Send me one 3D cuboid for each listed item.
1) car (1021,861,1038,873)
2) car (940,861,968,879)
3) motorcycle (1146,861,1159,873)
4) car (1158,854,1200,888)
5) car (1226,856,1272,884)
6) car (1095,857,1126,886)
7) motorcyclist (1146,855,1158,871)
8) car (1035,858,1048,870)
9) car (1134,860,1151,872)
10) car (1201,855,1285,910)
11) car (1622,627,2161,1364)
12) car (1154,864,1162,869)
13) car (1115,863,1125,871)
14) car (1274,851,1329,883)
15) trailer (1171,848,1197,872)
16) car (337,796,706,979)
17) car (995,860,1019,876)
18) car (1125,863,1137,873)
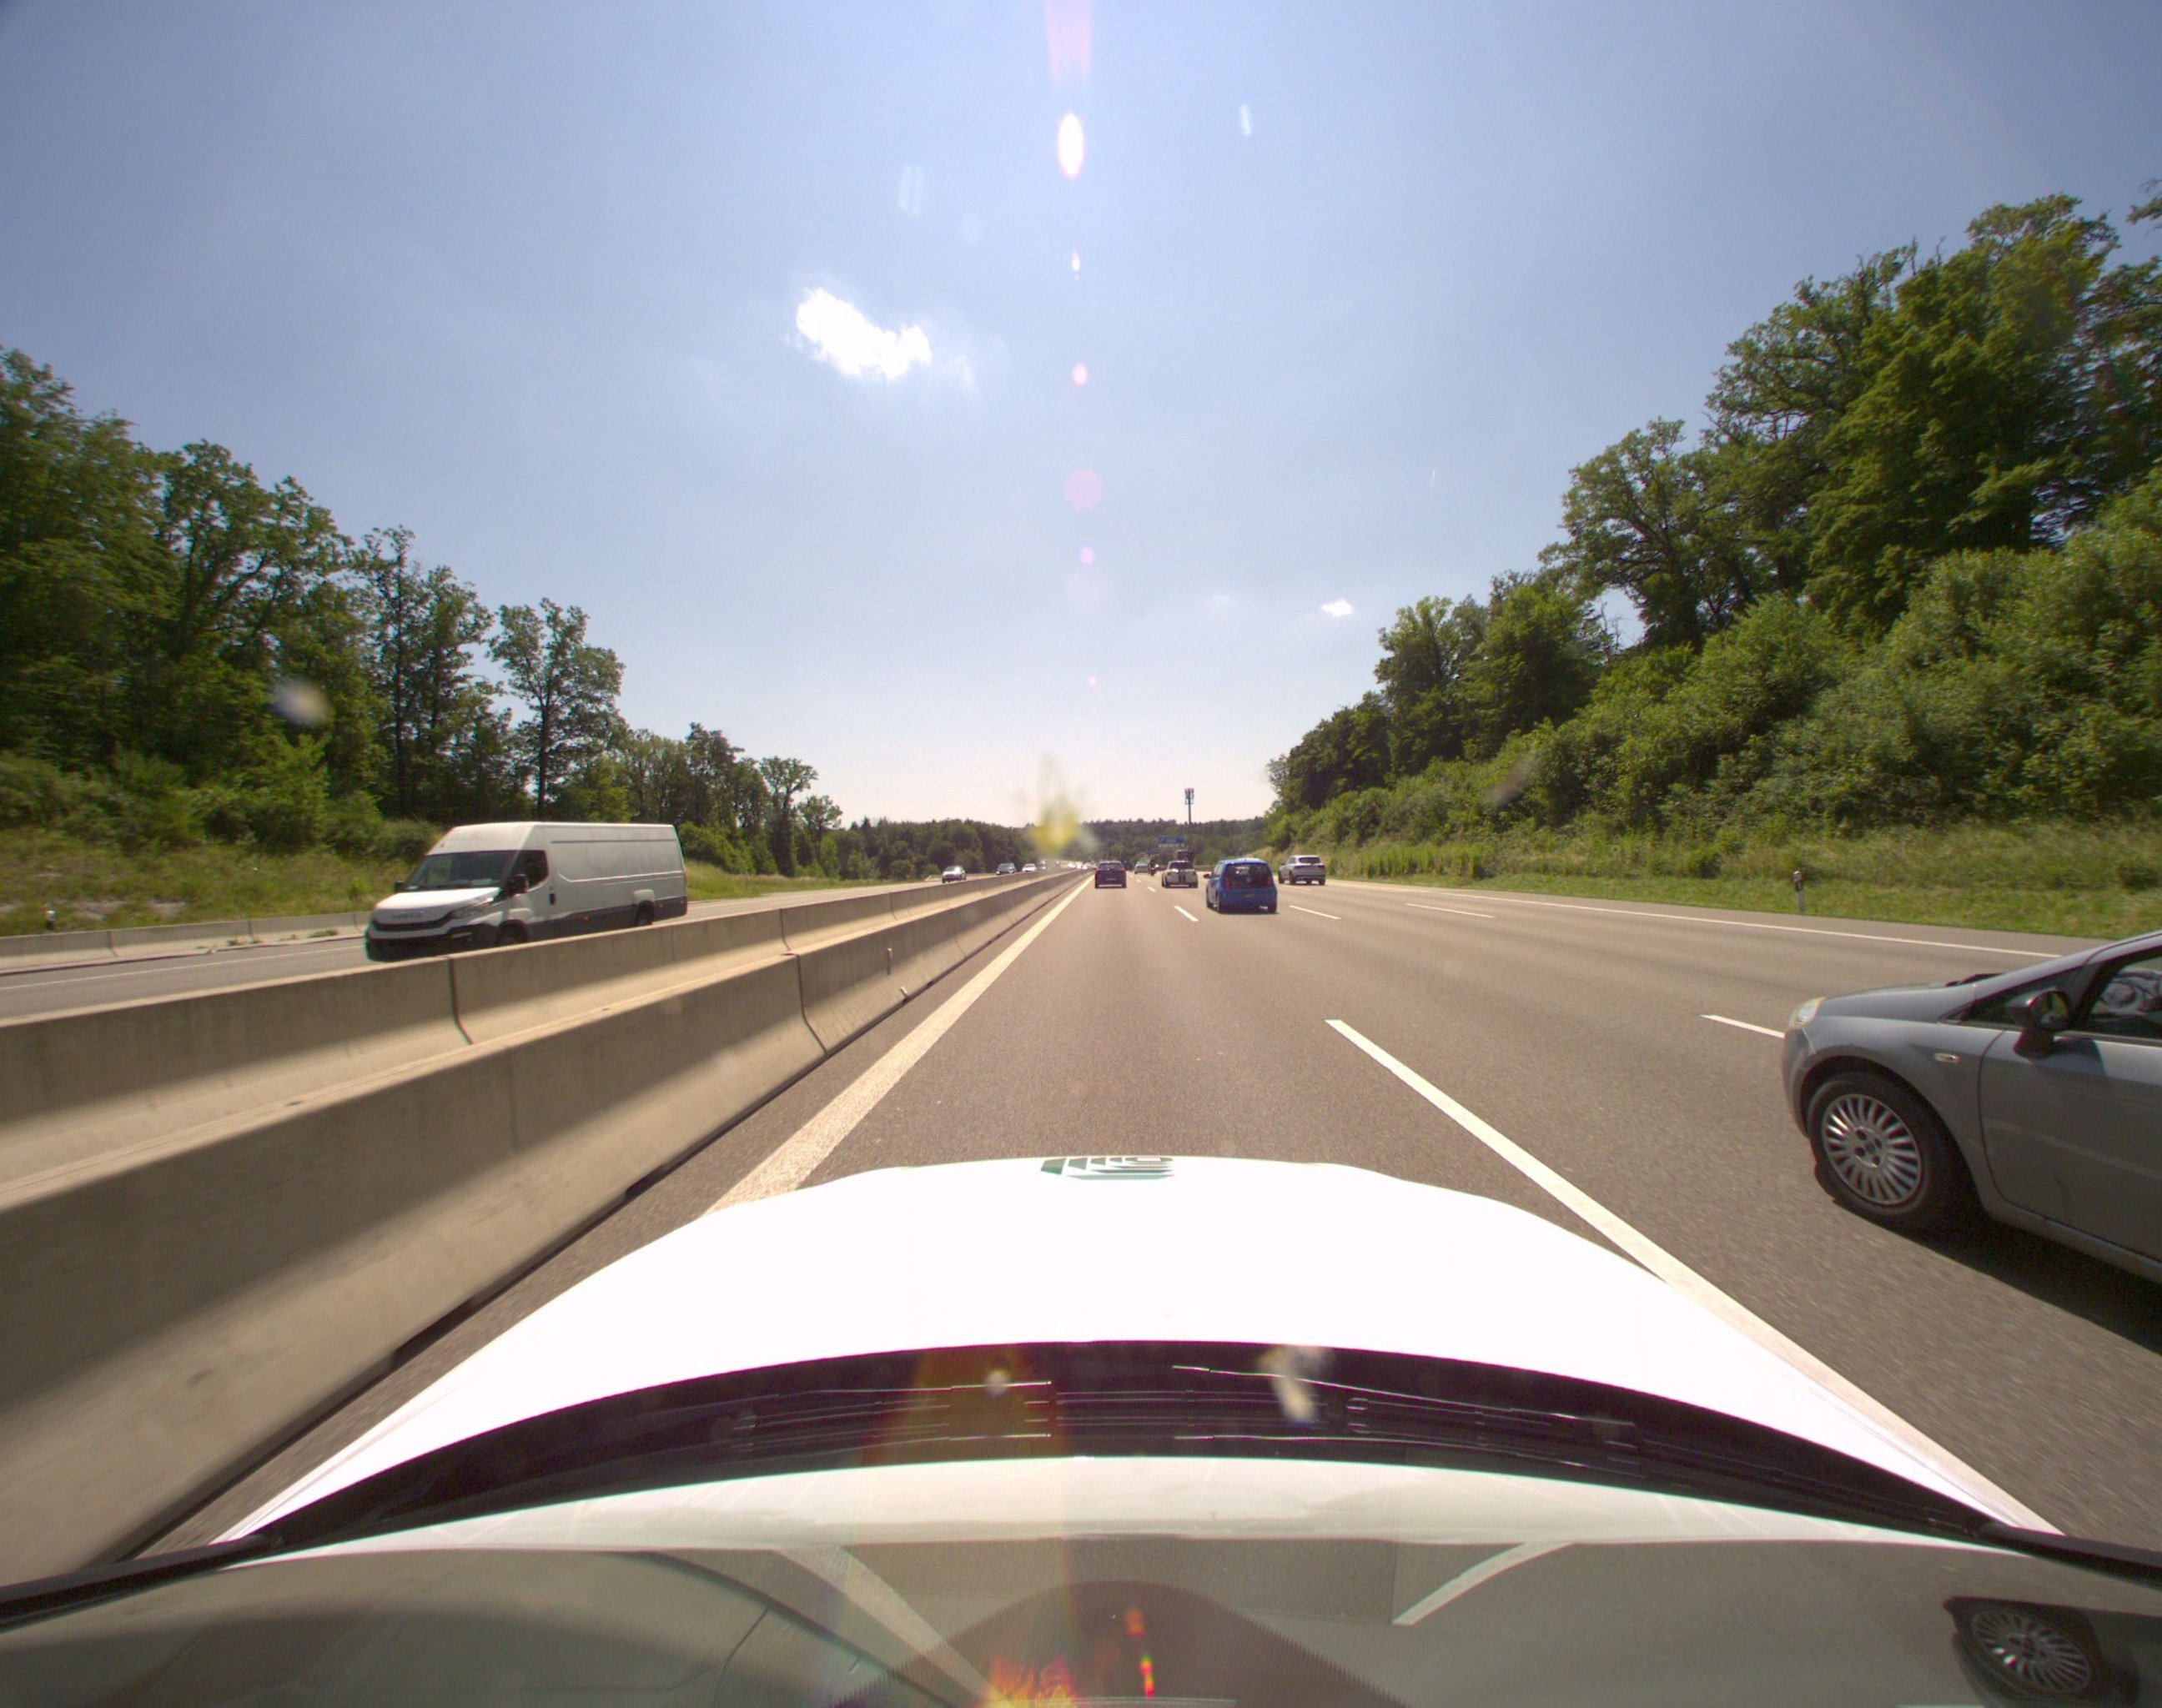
[{"bbox_3d":[-7.151,1.810,113.377,1.889,1.662,4.729,-2,-1,1],"label":"car"},{"bbox_3d":[-12.222,1.540,78.848,1.737,1.562,4.425,-4,-1,3],"label":"car"},{"bbox_3d":[6.809,1.239,77.756,0.974,1.129,2.271,-2,-1,0],"label":"motorcycle"},{"bbox_3d":[5.120,0.862,42.937,1.834,1.552,4.003,2,1,2],"label":"car"},{"bbox_3d":[9.110,0.845,44.423,1.660,1.433,4.376,-2,0,1],"label":"car"},{"bbox_3d":[1.617,0.930,44.435,1.618,1.487,3.687,-1,0,2],"label":"car"},{"bbox_3d":[6.792,0.888,77.696,0.959,1.437,1.235,-3,-1,0],"label":"motorcyclist"},{"bbox_3d":[-6.606,1.659,136.355,1.987,2.013,4.812,-2,0,0],"label":"car"},{"bbox_3d":[7.018,1.389,92.921,1.776,1.265,3.462,-2,0,2],"label":"car"},{"bbox_3d":[4.589,0.782,23.593,1.730,1.411,4.002,-1,-1,2],"label":"car"},{"bbox_3d":[3.981,0.383,2.230,1.954,2.053,4.787,-1,0,2],"label":"car"},{"bbox_3d":[19.018,3.101,201.101,1.603,1.212,3.459,-2,-1,0],"label":"car"},{"bbox_3d":[8.878,2.918,184.697,1.988,1.684,4.419,0,0,-2],"label":"car"},{"bbox_3d":[12.398,0.698,46.111,1.794,1.731,5.241,0,0,2],"label":"car"},{"bbox_3d":[17.237,1.034,137.526,2.847,3.688,13.544,-2,-1,1],"label":"trailer"},{"bbox_3d":[-10.729,0.564,16.871,2.078,2.800,7.605,-4,-1,1],"label":"car"},{"bbox_3d":[-7.840,1.468,86.624,1.794,1.548,4.732,-2,0,3],"label":"car"},{"bbox_3d":[9.750,2.762,159.526,2.089,1.851,4.082,-2,0,1],"label":"car"}]
